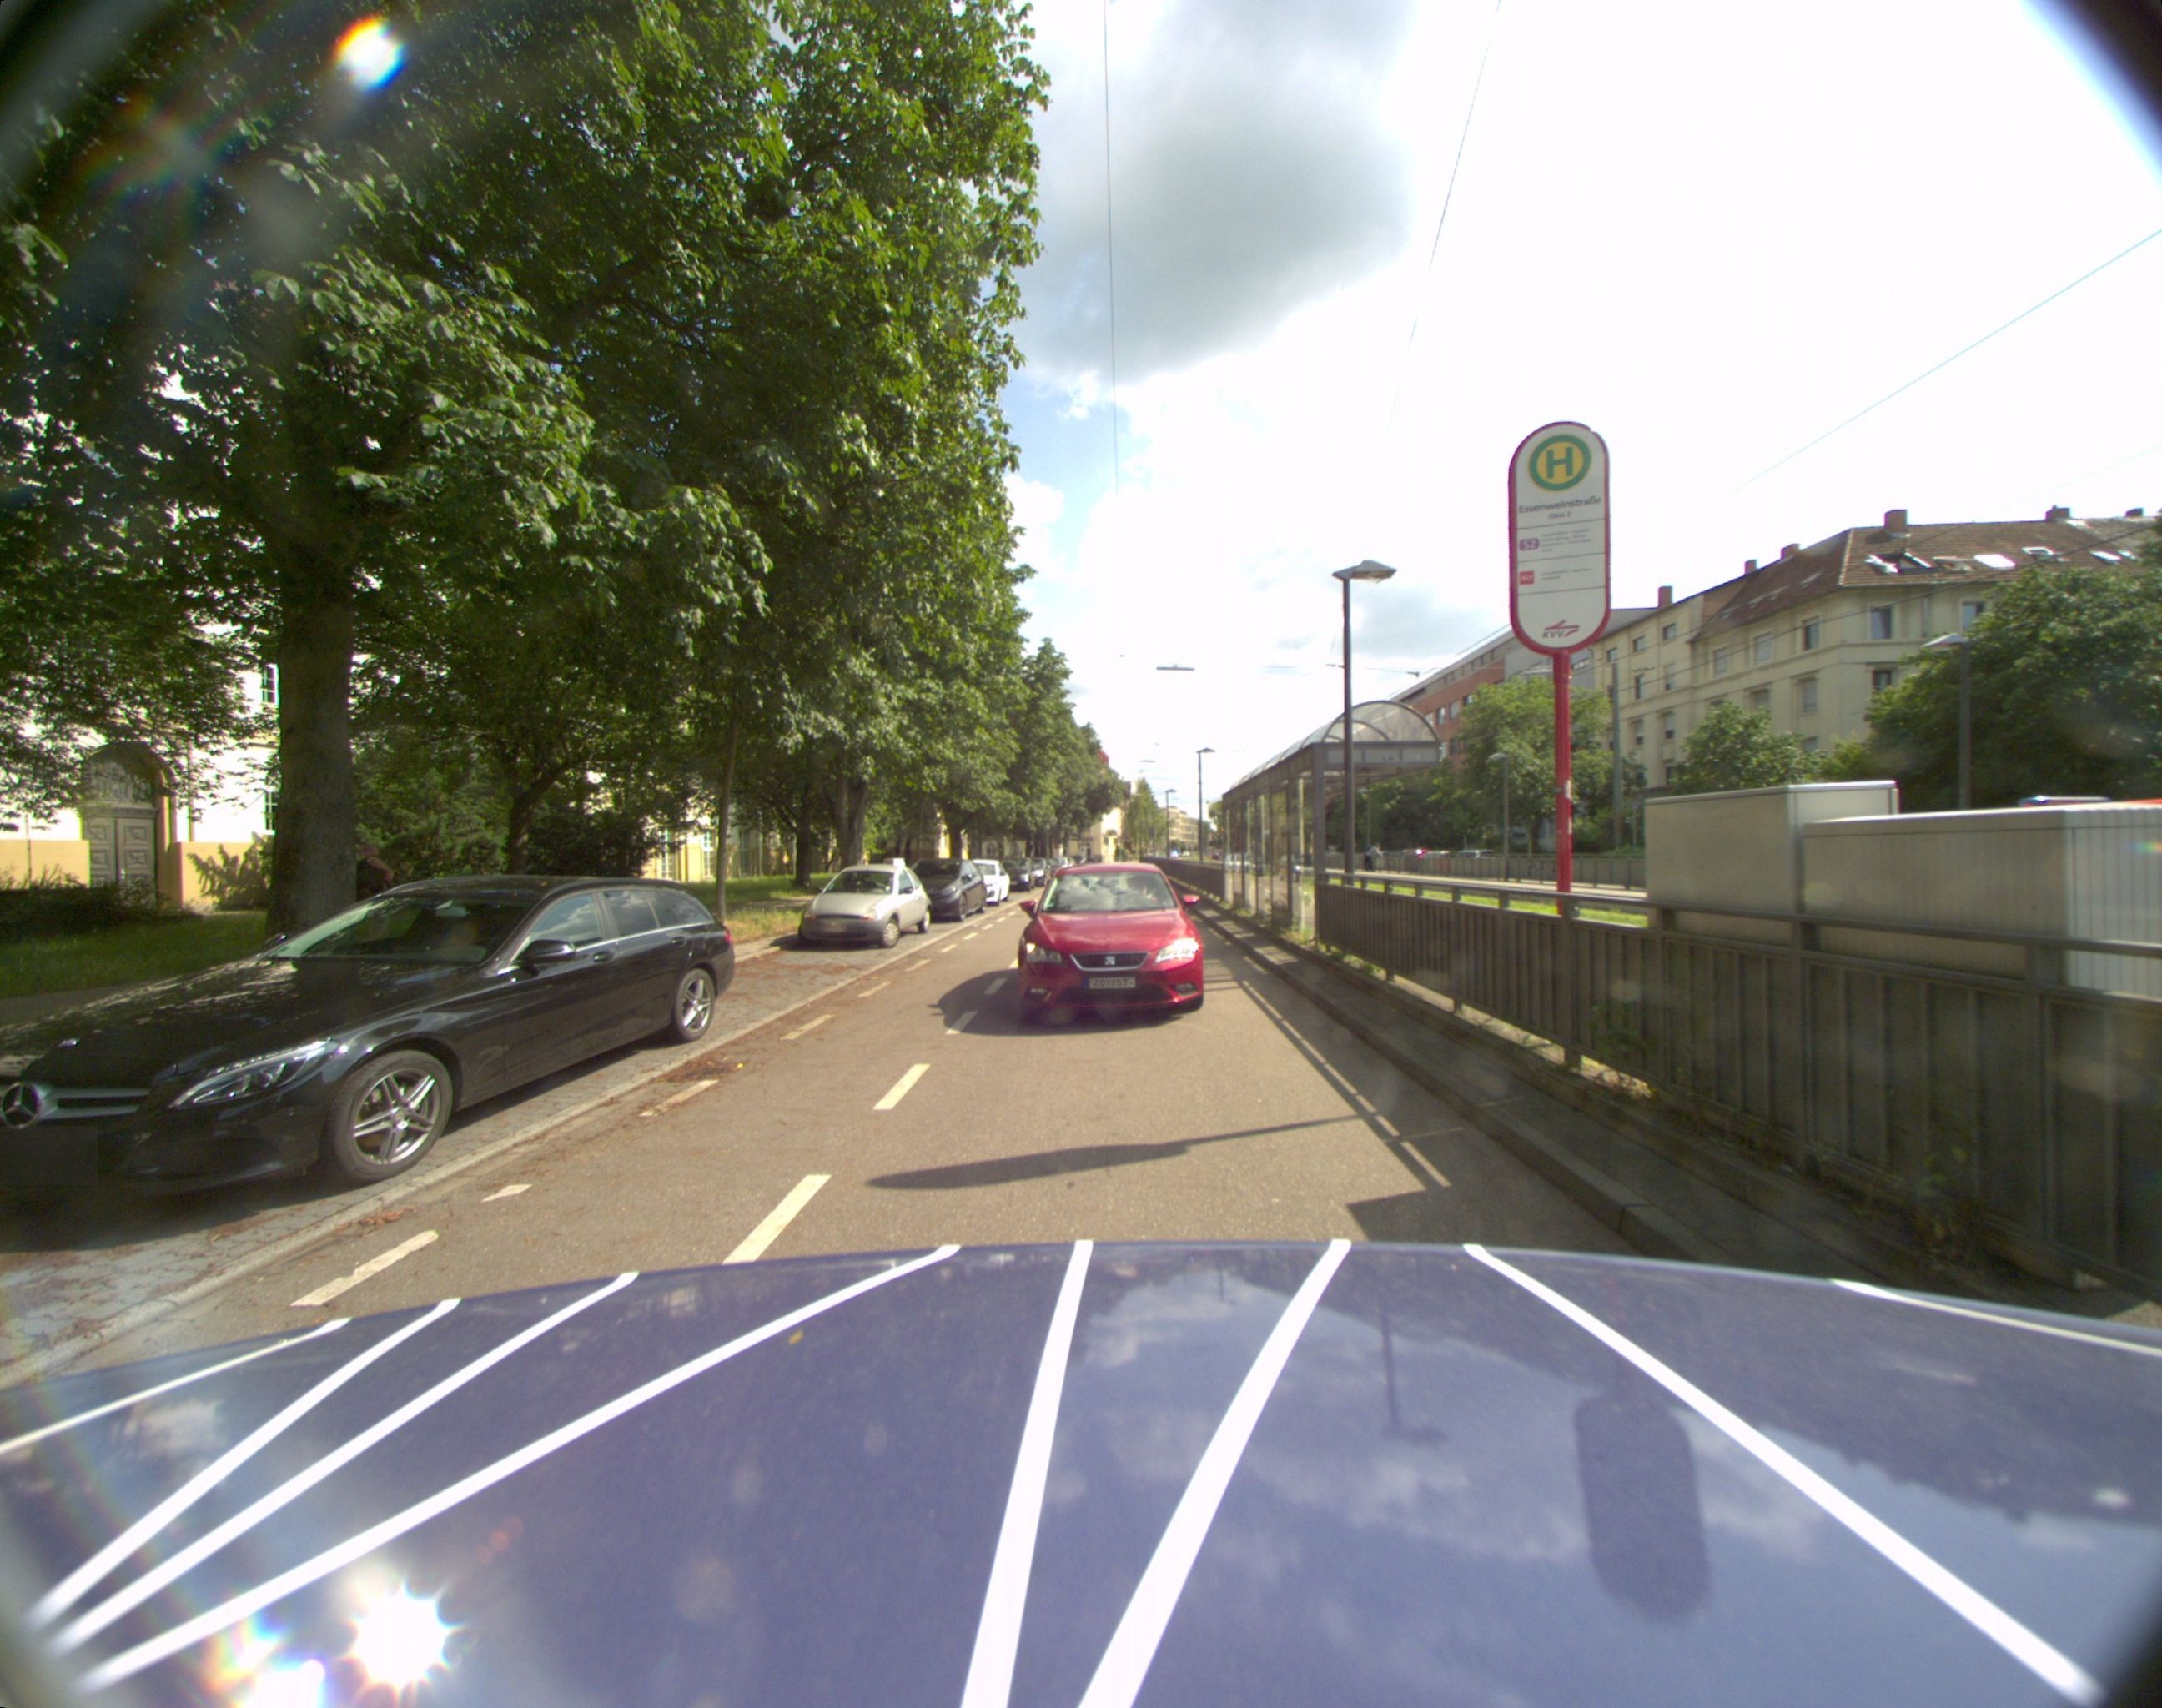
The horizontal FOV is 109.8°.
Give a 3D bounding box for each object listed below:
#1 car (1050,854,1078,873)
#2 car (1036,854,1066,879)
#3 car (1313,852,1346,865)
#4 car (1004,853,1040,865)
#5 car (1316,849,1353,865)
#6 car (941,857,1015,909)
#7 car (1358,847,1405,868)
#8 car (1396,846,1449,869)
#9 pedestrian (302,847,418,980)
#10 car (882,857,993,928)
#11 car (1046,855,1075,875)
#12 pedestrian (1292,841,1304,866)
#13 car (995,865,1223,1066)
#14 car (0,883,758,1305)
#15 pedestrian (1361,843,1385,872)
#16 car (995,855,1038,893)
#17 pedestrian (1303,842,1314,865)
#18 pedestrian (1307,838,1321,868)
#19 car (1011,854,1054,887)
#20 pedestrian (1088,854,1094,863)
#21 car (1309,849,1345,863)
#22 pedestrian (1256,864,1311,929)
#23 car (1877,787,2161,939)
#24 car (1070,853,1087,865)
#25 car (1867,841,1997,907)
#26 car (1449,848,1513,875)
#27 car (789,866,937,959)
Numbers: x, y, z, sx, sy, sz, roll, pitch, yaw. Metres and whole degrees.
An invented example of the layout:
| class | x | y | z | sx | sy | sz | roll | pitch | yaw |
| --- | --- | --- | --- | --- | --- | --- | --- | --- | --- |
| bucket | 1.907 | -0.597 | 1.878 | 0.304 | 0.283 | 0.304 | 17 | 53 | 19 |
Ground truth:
| class | x | y | z | sx | sy | sz | roll | pitch | yaw |
| --- | --- | --- | --- | --- | --- | --- | --- | --- | --- |
| car | -1.346 | 0.729 | 62.035 | 1.833 | 1.433 | 5.050 | 2 | 0 | 3 |
| car | -1.954 | 0.798 | 50.896 | 1.836 | 1.458 | 4.829 | 1 | 1 | -1 |
| car | 26.276 | 0.432 | 80.309 | 3.258 | 1.296 | 1.600 | -1 | 0 | -32 |
| car | -8.598 | 0.709 | 111.398 | 4.827 | 1.646 | 1.858 | -1 | 2 | 13 |
| car | 25.775 | 0.315 | 77.252 | 3.316 | 1.412 | 1.581 | -3 | 1 | -27 |
| car | -3.356 | 0.886 | 25.397 | 1.840 | 1.515 | 4.253 | 1 | 0 | 0 |
| car | 25.841 | 0.294 | 65.317 | 4.006 | 1.520 | 1.669 | -3 | 0 | -34 |
| car | 25.512 | 0.242 | 56.714 | 4.144 | 1.630 | 1.829 | -1 | 1 | -37 |
| pedestrian | -9.447 | 0.753 | 9.982 | 0.745 | 1.686 | 0.767 | -1 | 1 | 8 |
| car | -3.576 | 0.896 | 19.800 | 1.729 | 1.574 | 4.678 | 0 | 0 | 3 |
| car | -1.489 | 0.821 | 56.826 | 1.639 | 1.423 | 4.016 | 2 | 0 | 5 |
| pedestrian | 15.694 | -0.026 | 54.926 | 0.607 | 1.744 | 0.626 | 0 | 2 | 43 |
| car | 0.316 | 0.941 | 8.176 | 1.790 | 1.499 | 4.000 | -2 | 0 | 3 |
| car | -4.352 | 1.038 | 5.406 | 1.922 | 1.433 | 4.797 | 1 | 0 | 2 |
| pedestrian | 15.835 | 0.198 | 41.272 | 0.991 | 1.569 | 0.798 | -1 | 1 | 0 |
| car | -2.840 | 0.848 | 34.122 | 1.559 | 1.453 | 3.558 | 2 | 1 | 0 |
| pedestrian | 16.390 | -0.032 | 54.791 | 0.608 | 1.665 | 0.625 | -1 | 1 | 3 |
| pedestrian | 15.432 | -0.069 | 50.271 | 0.752 | 1.881 | 0.639 | -1 | 3 | 5 |
| car | -2.435 | 0.814 | 39.306 | 1.694 | 1.552 | 4.308 | 2 | 0 | 3 |
| pedestrian | 1.512 | 0.660 | 112.895 | 0.804 | 1.238 | 0.892 | -1 | 2 | 5 |
| car | 27.138 | 0.217 | 83.870 | 4.007 | 1.487 | 1.647 | -1 | 0 | -34 |
| pedestrian | 3.456 | 0.708 | 12.952 | 0.662 | 1.066 | 0.725 | -1 | 0 | 37 |
| car | 17.176 | 0.140 | 13.050 | 1.998 | 2.262 | 4.834 | 1 | 1 | 2 |
| car | -0.284 | 0.560 | 89.265 | 1.689 | 1.379 | 3.924 | 0 | 1 | 3 |
| car | 23.364 | 0.502 | 20.829 | 4.007 | 1.630 | 1.823 | -1 | -1 | -34 |
| car | 24.788 | 0.450 | 47.066 | 4.161 | 1.556 | 1.921 | -1 | 1 | -38 |
| car | -3.970 | 0.993 | 14.402 | 1.594 | 1.437 | 3.598 | 1 | 1 | 3 |
